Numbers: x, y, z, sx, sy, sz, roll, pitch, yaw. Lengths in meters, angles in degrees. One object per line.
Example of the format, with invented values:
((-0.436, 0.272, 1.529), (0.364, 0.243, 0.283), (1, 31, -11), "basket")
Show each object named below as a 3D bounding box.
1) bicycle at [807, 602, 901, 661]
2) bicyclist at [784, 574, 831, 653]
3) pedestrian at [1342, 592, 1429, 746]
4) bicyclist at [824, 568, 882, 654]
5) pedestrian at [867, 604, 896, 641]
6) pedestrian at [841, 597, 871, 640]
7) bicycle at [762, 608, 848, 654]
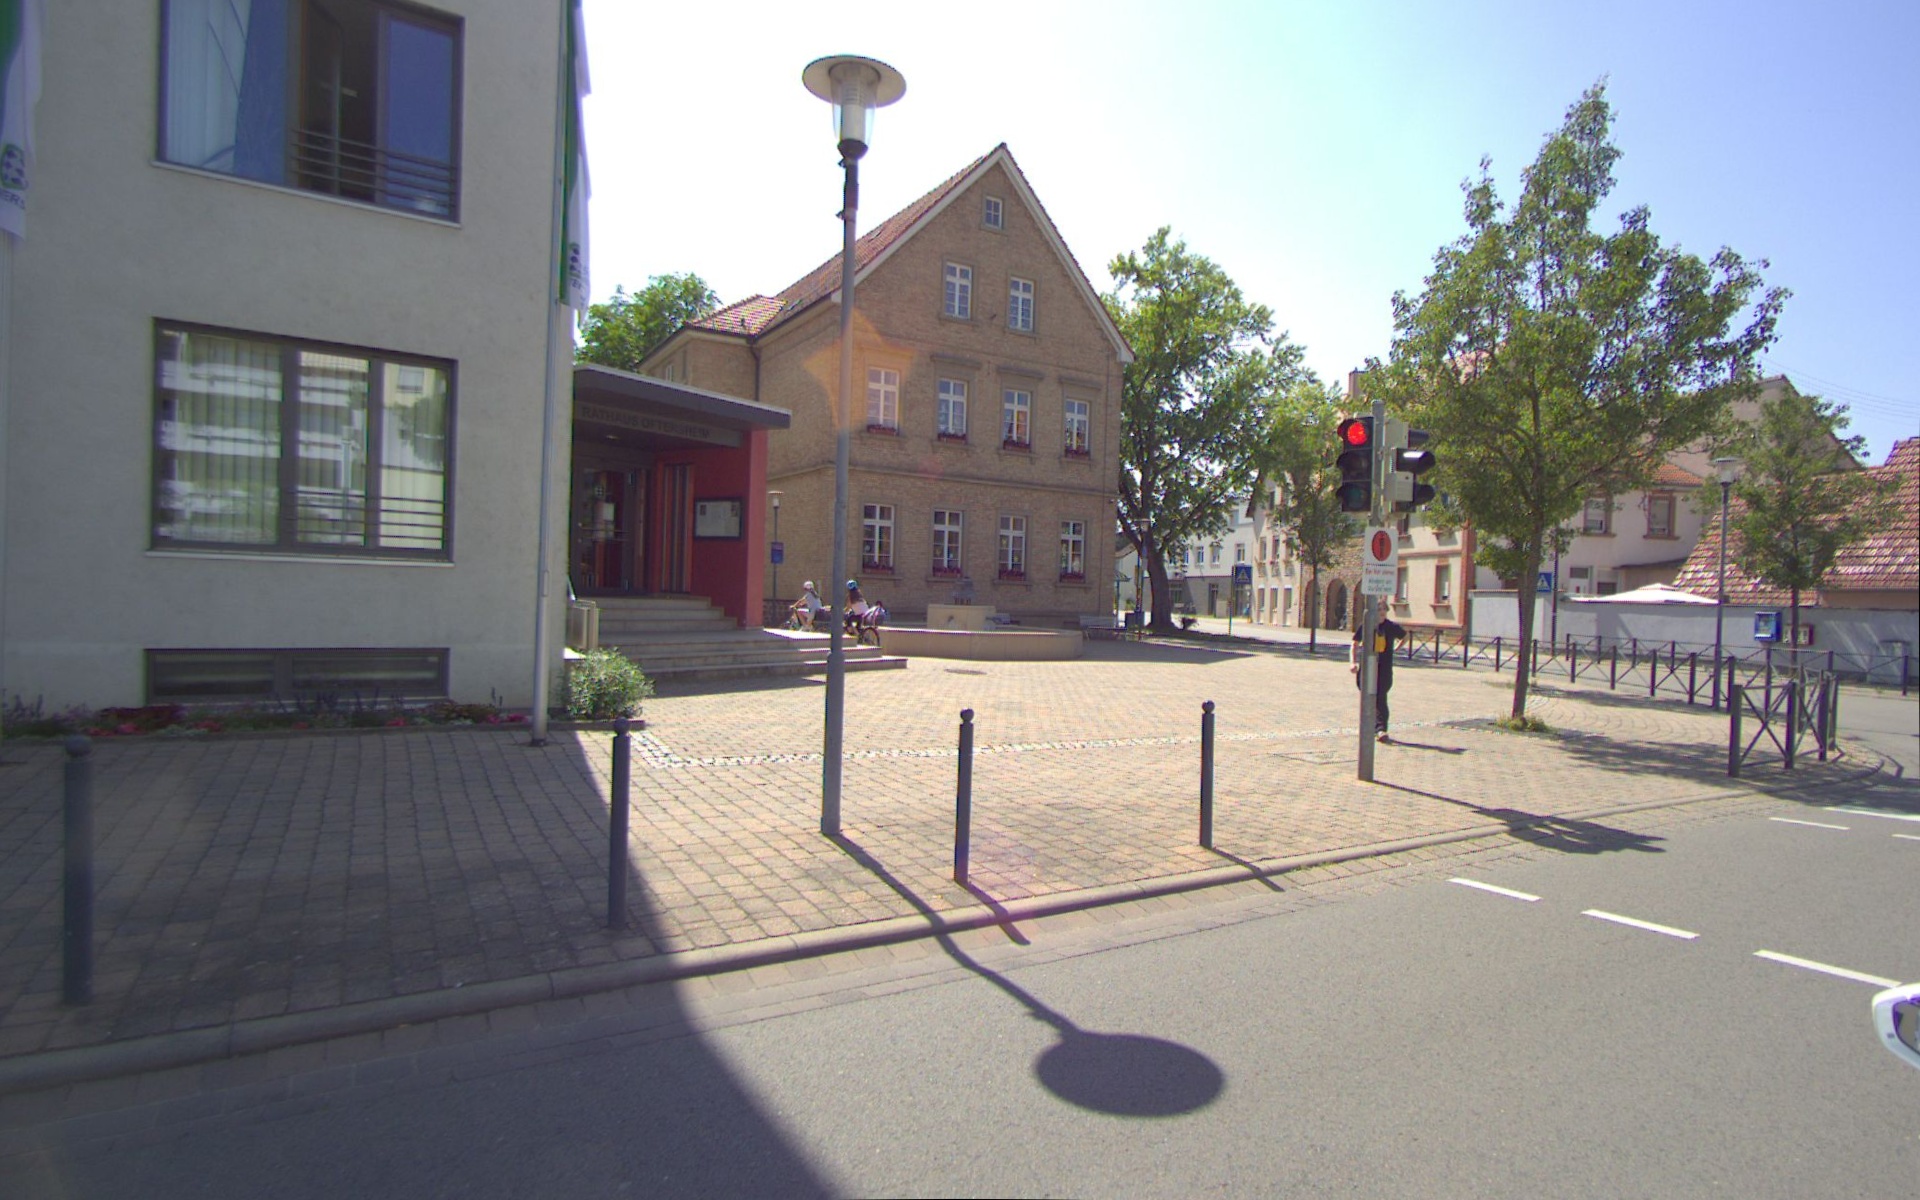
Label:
((-2.093, 0.606, 19.684), (1.867, 0.970, 0.673), (5, 1, 39), "bicycle")
((-3.327, 0.301, 21.981), (0.748, 1.686, 0.669), (0, -1, 32), "bicyclist")
((4.925, 0.770, 11.683), (0.798, 1.676, 0.851), (3, 1, 19), "pedestrian")
((-2.105, 0.214, 19.712), (0.750, 1.602, 0.668), (7, 3, 39), "bicyclist")
((-2.270, 0.638, 28.940), (0.611, 1.041, 0.636), (2, 0, -29), "pedestrian")
((-2.962, 0.527, 28.546), (0.611, 1.186, 0.636), (2, 0, -29), "pedestrian")
((-3.406, 0.673, 22.020), (1.863, 0.970, 0.674), (0, -1, 32), "bicycle")
